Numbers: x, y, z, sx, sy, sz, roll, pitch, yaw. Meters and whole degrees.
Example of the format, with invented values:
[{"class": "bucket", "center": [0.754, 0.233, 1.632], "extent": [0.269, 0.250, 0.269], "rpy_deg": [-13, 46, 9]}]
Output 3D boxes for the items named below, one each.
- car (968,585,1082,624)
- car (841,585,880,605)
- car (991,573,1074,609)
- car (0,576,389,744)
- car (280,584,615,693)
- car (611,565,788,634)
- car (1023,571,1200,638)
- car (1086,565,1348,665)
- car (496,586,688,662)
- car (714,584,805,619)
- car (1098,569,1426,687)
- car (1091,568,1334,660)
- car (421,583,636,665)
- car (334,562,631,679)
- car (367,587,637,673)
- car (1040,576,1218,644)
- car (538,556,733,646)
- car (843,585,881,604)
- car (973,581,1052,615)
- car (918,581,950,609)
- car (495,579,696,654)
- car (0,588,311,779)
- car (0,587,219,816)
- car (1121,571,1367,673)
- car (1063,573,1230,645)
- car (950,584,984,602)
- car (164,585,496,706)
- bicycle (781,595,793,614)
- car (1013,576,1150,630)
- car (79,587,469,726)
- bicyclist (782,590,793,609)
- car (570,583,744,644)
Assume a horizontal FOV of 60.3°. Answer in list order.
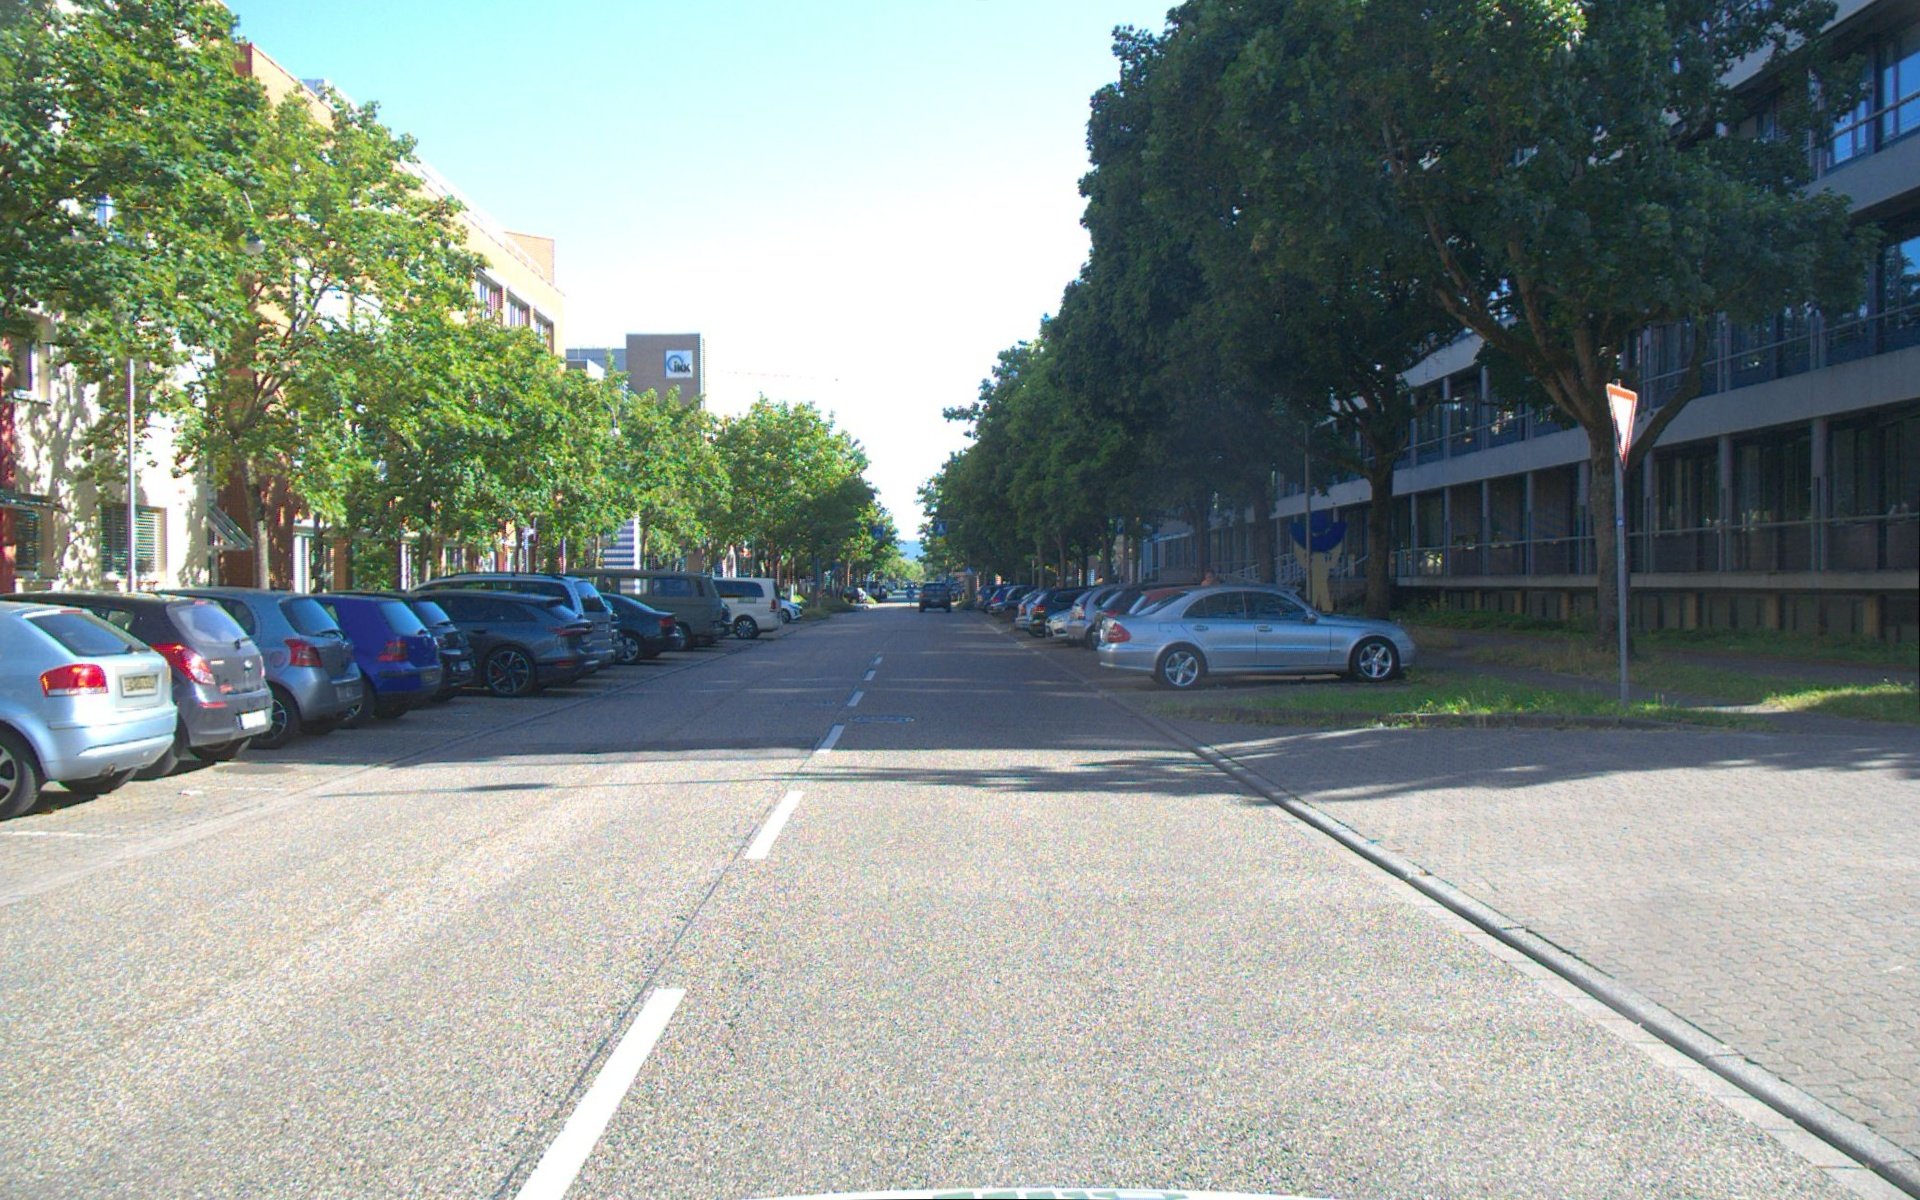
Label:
[{"class": "car", "center": [2.776, 0.195, 71.502], "extent": [4.729, 1.444, 2.031], "rpy_deg": [-2, 0, -3]}, {"class": "car", "center": [-10.601, -0.552, 176.005], "extent": [3.904, 2.049, 2.001], "rpy_deg": [-1, 0, 3]}, {"class": "car", "center": [3.490, -0.432, 80.065], "extent": [3.868, 1.541, 1.812], "rpy_deg": [-2, 0, 0]}, {"class": "car", "center": [-7.865, 0.561, 16.542], "extent": [3.651, 1.535, 1.859], "rpy_deg": [1, 0, -2]}, {"class": "car", "center": [-7.361, 0.541, 24.094], "extent": [4.315, 1.452, 1.771], "rpy_deg": [1, 0, -3]}, {"class": "car", "center": [-8.023, -0.032, 51.334], "extent": [5.151, 2.001, 1.942], "rpy_deg": [1, 0, -2]}, {"class": "car", "center": [4.031, 0.124, 44.385], "extent": [4.498, 1.519, 1.762], "rpy_deg": [-3, 0, -2]}, {"class": "car", "center": [4.544, 0.256, 29.784], "extent": [4.421, 1.569, 1.922], "rpy_deg": [-2, 0, 2]}, {"class": "car", "center": [-7.475, 0.471, 33.871], "extent": [3.655, 1.452, 1.722], "rpy_deg": [1, 0, -7]}, {"class": "car", "center": [-8.906, 0.052, 73.679], "extent": [3.907, 1.512, 1.806], "rpy_deg": [0, 0, -2]}, {"class": "car", "center": [4.381, 0.392, 24.468], "extent": [4.485, 1.501, 1.747], "rpy_deg": [-2, 0, -1]}, {"class": "car", "center": [4.878, 0.264, 32.394], "extent": [4.422, 1.569, 1.922], "rpy_deg": [-2, 0, 0]}, {"class": "car", "center": [-8.181, 0.450, 31.615], "extent": [3.651, 1.452, 1.724], "rpy_deg": [1, 0, -2]}, {"class": "car", "center": [-7.621, 0.313, 26.754], "extent": [4.234, 1.747, 1.961], "rpy_deg": [1, 0, -3]}, {"class": "car", "center": [-7.946, 0.511, 28.993], "extent": [4.234, 1.382, 1.756], "rpy_deg": [1, 0, -2]}, {"class": "car", "center": [4.246, 0.237, 41.934], "extent": [4.200, 1.519, 2.003], "rpy_deg": [-2, 0, -3]}, {"class": "car", "center": [-8.044, 0.017, 41.353], "extent": [4.395, 2.126, 2.083], "rpy_deg": [1, 0, 1]}, {"class": "car", "center": [-10.572, -0.606, 178.953], "extent": [3.904, 2.049, 2.001], "rpy_deg": [-1, 0, 3]}, {"class": "car", "center": [2.961, -0.127, 94.308], "extent": [4.265, 1.733, 1.811], "rpy_deg": [-2, 0, -4]}, {"class": "car", "center": [-1.633, -0.335, 103.005], "extent": [1.953, 1.668, 3.999], "rpy_deg": [1, 0, -1]}, {"class": "car", "center": [-8.005, 0.350, 36.618], "extent": [4.048, 1.554, 1.725], "rpy_deg": [1, 0, -1]}, {"class": "car", "center": [-7.676, 0.653, 13.981], "extent": [3.653, 1.472, 1.858], "rpy_deg": [1, 0, -5]}, {"class": "car", "center": [-7.460, 0.642, 11.624], "extent": [3.653, 1.472, 1.874], "rpy_deg": [1, 0, -5]}, {"class": "car", "center": [4.628, 0.349, 27.413], "extent": [3.758, 1.472, 1.922], "rpy_deg": [-2, 0, 2]}, {"class": "car", "center": [4.404, 0.203, 39.388], "extent": [3.670, 1.519, 1.615], "rpy_deg": [-2, 0, -5]}, {"class": "car", "center": [0.834, -0.797, 198.353], "extent": [3.907, 2.049, 1.999], "rpy_deg": [-1, 0, -3]}, {"class": "car", "center": [-8.163, 0.566, 21.683], "extent": [3.651, 1.452, 1.772], "rpy_deg": [1, 0, -2]}, {"class": "bicycle", "center": [-10.488, 0.275, 100.472], "extent": [0.521, 1.091, 1.300], "rpy_deg": [-1, 0, 2]}, {"class": "car", "center": [3.616, 0.076, 49.761], "extent": [3.891, 1.444, 1.709], "rpy_deg": [-2, 0, -3]}, {"class": "car", "center": [-7.710, 0.611, 18.872], "extent": [3.651, 1.452, 1.840], "rpy_deg": [1, 0, -2]}, {"class": "bicyclist", "center": [-10.491, -0.021, 100.449], "extent": [0.521, 1.110, 0.794], "rpy_deg": [-1, 0, 2]}, {"class": "car", "center": [-8.012, 0.341, 44.038], "extent": [4.231, 1.503, 1.943], "rpy_deg": [1, 0, 1]}]
